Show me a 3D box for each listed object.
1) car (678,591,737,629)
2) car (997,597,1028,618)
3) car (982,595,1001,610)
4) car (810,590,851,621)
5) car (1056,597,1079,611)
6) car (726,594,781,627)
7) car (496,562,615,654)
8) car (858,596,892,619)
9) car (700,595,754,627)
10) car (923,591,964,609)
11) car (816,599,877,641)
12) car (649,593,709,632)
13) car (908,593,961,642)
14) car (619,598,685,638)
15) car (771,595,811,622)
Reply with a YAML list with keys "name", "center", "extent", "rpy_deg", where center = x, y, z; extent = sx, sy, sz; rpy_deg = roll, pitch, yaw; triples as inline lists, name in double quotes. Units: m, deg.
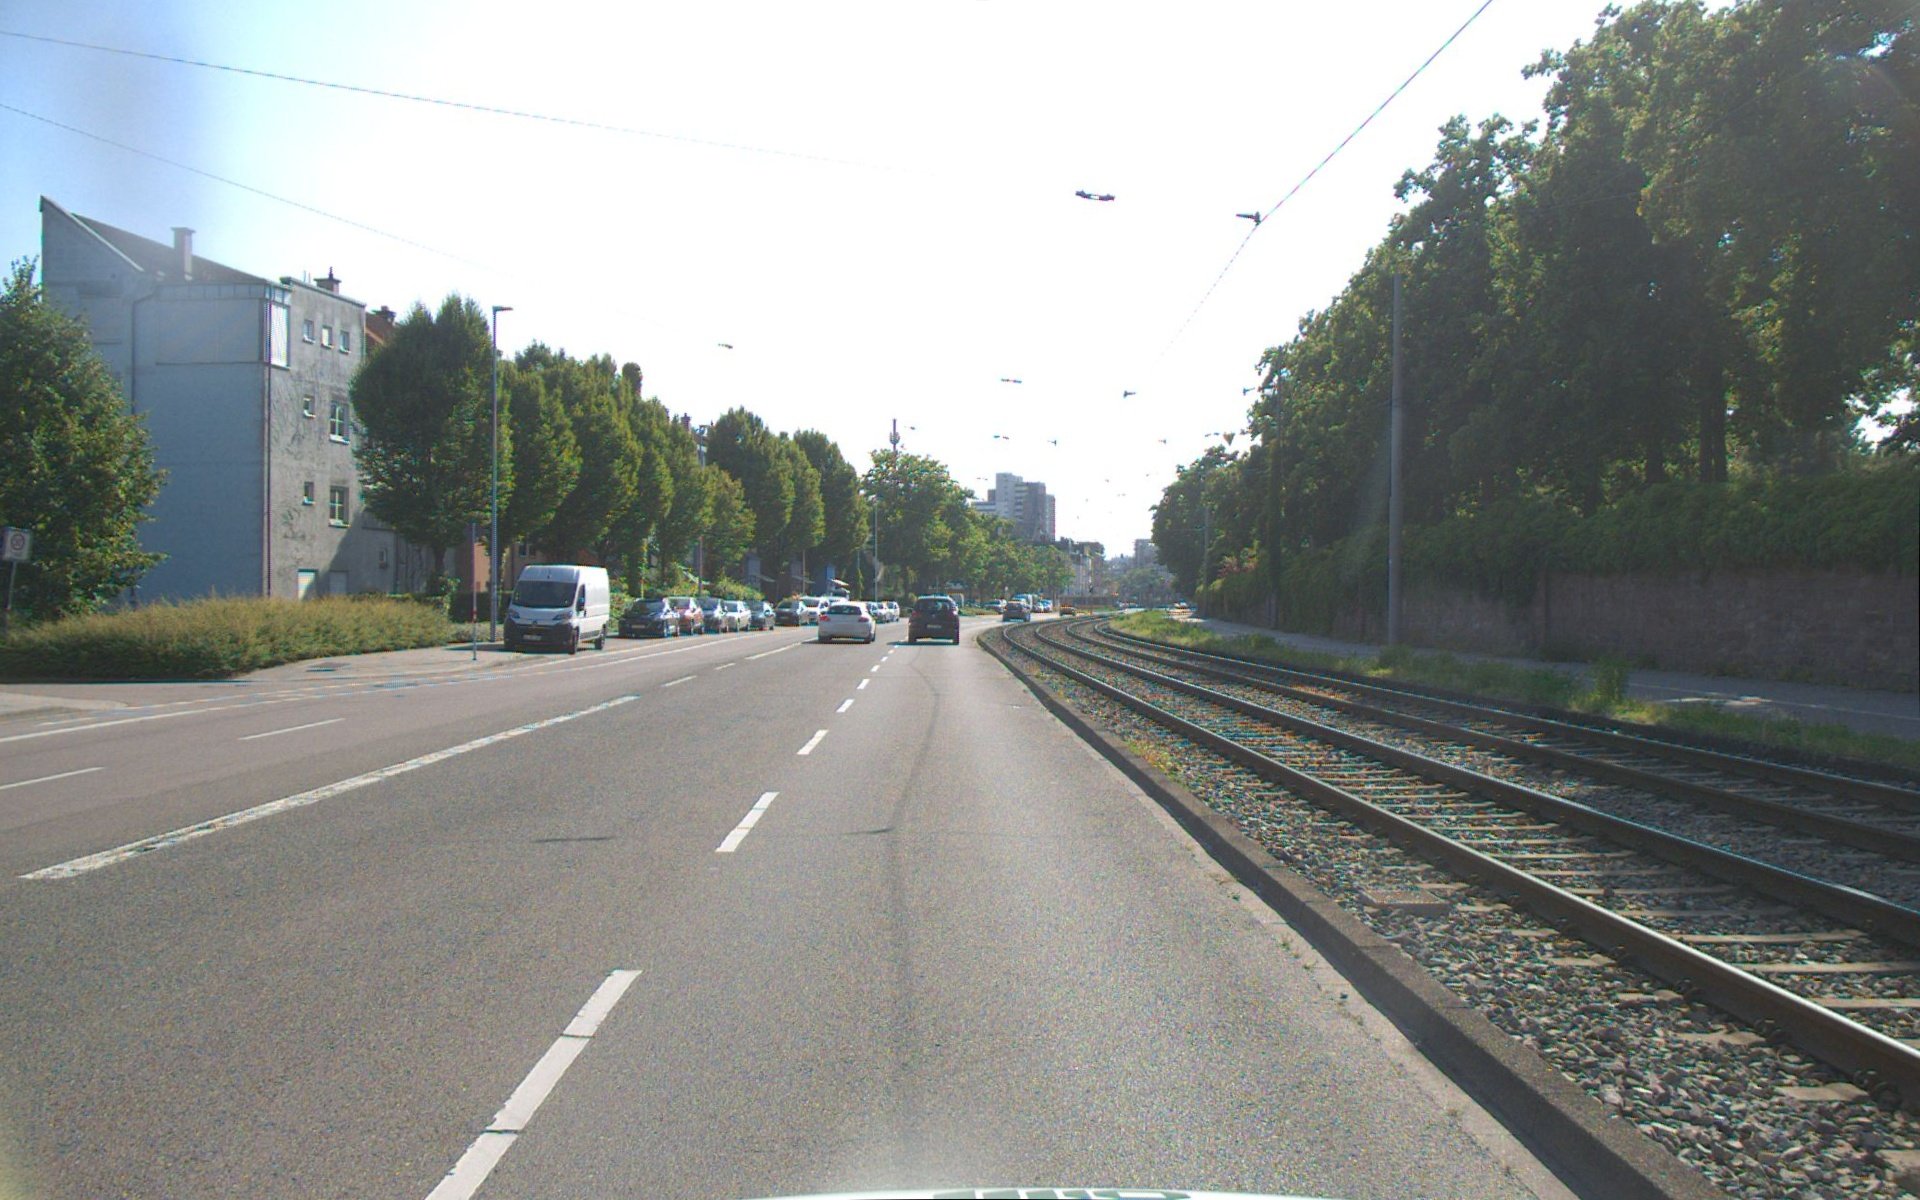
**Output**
- name: "car"
  center: [-11.521, 0.460, 75.731]
  extent: [1.725, 1.601, 4.300]
  rpy_deg: [2, 0, 3]
- name: "car"
  center: [3.887, 0.506, 122.063]
  extent: [1.773, 1.474, 4.003]
  rpy_deg: [1, 0, 10]
- name: "car"
  center: [3.862, 0.294, 199.469]
  extent: [1.695, 1.687, 4.003]
  rpy_deg: [0, 0, 10]
- name: "car"
  center: [-8.550, 0.330, 109.806]
  extent: [1.726, 1.877, 4.583]
  rpy_deg: [5, 1, 6]
- name: "car"
  center: [11.256, 0.415, 173.198]
  extent: [1.773, 1.474, 4.003]
  rpy_deg: [1, 0, 12]
- name: "car"
  center: [-10.822, 0.532, 86.941]
  extent: [1.827, 1.571, 4.912]
  rpy_deg: [2, 0, 4]
- name: "car"
  center: [-11.992, 0.206, 49.522]
  extent: [2.109, 2.500, 6.182]
  rpy_deg: [2, 0, -2]
- name: "car"
  center: [-6.361, 0.527, 124.078]
  extent: [1.726, 1.565, 3.984]
  rpy_deg: [5, 1, 8]
- name: "car"
  center: [-11.374, 0.559, 81.077]
  extent: [1.677, 1.497, 4.846]
  rpy_deg: [2, -1, 3]
- name: "car"
  center: [-2.240, 0.007, 223.687]
  extent: [5.260, 2.466, 2.089]
  rpy_deg: [0, 0, 8]
- name: "car"
  center: [-3.853, 0.661, 56.848]
  extent: [1.826, 1.371, 4.000]
  rpy_deg: [0, 0, 0]
- name: "car"
  center: [-11.865, 0.538, 70.107]
  extent: [1.726, 1.601, 4.162]
  rpy_deg: [0, -1, 1]
- name: "car"
  center: [-0.863, 0.604, 58.375]
  extent: [1.774, 1.673, 4.000]
  rpy_deg: [1, 0, 0]
- name: "car"
  center: [-11.964, 0.675, 64.415]
  extent: [1.618, 1.449, 4.713]
  rpy_deg: [0, 0, 1]
- name: "car"
  center: [-10.020, 0.492, 98.275]
  extent: [1.582, 1.491, 4.061]
  rpy_deg: [2, 0, 6]
